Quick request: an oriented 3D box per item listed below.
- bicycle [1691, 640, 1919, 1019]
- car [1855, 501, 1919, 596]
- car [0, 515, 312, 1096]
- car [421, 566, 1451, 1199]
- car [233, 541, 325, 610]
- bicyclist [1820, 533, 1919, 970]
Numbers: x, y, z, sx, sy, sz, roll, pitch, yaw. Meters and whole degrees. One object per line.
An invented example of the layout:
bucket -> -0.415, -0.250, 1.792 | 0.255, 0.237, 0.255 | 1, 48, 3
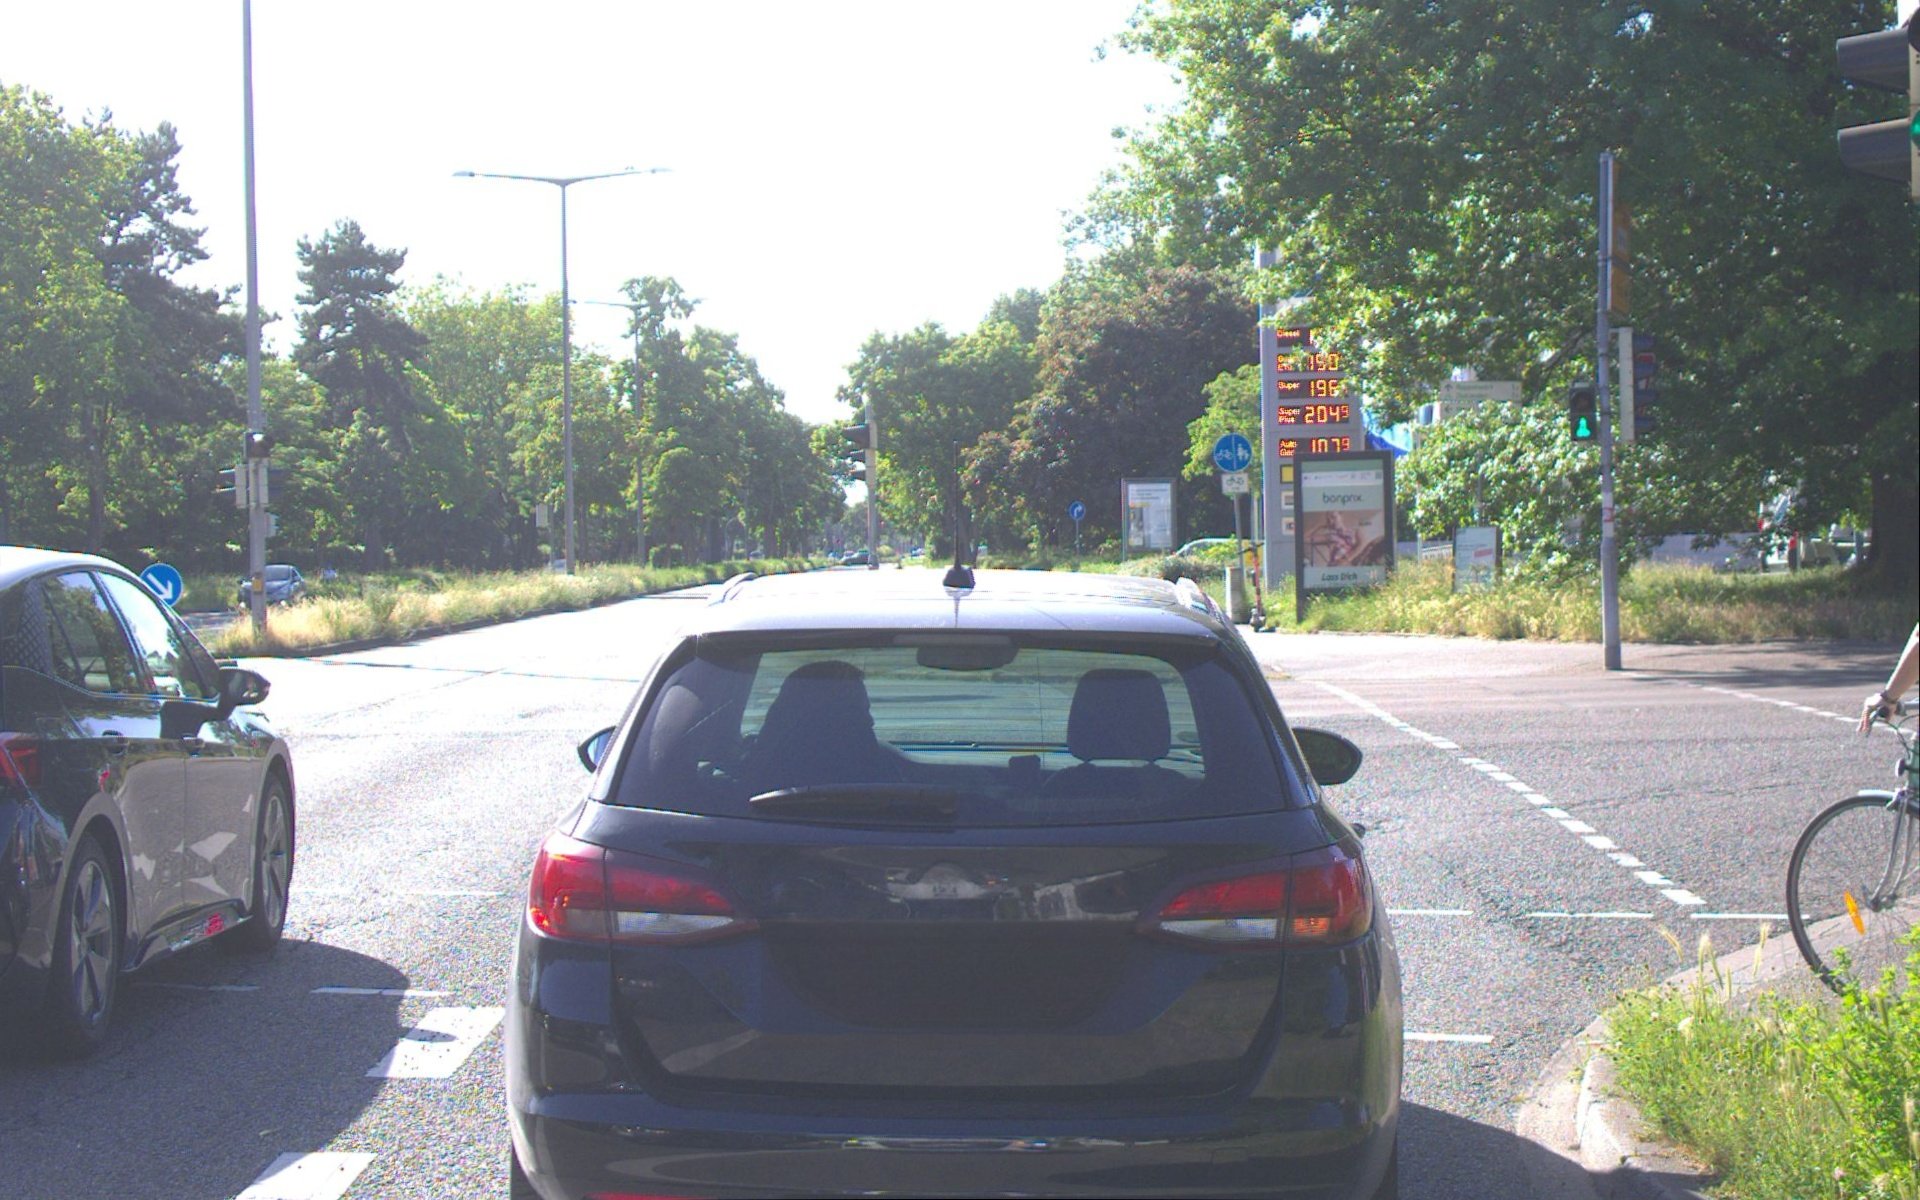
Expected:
bicycle -> 3.080, 0.662, 10.111 | 0.536, 1.094, 1.775 | -2, -1, -43
car -> 16.880, -0.886, 56.540 | 3.887, 1.512, 1.746 | -2, 1, -23
car -> -3.375, 0.543, 11.417 | 1.684, 1.575, 4.207 | 0, 0, 0
car -> -0.057, 0.678, 7.984 | 1.756, 1.490, 4.207 | 0, 0, 0
car -> -20.763, -0.761, 104.909 | 1.993, 2.007, 4.000 | -2, 1, -1
bicyclist -> 3.070, 0.428, 10.108 | 0.536, 1.273, 0.829 | -2, -1, -43
